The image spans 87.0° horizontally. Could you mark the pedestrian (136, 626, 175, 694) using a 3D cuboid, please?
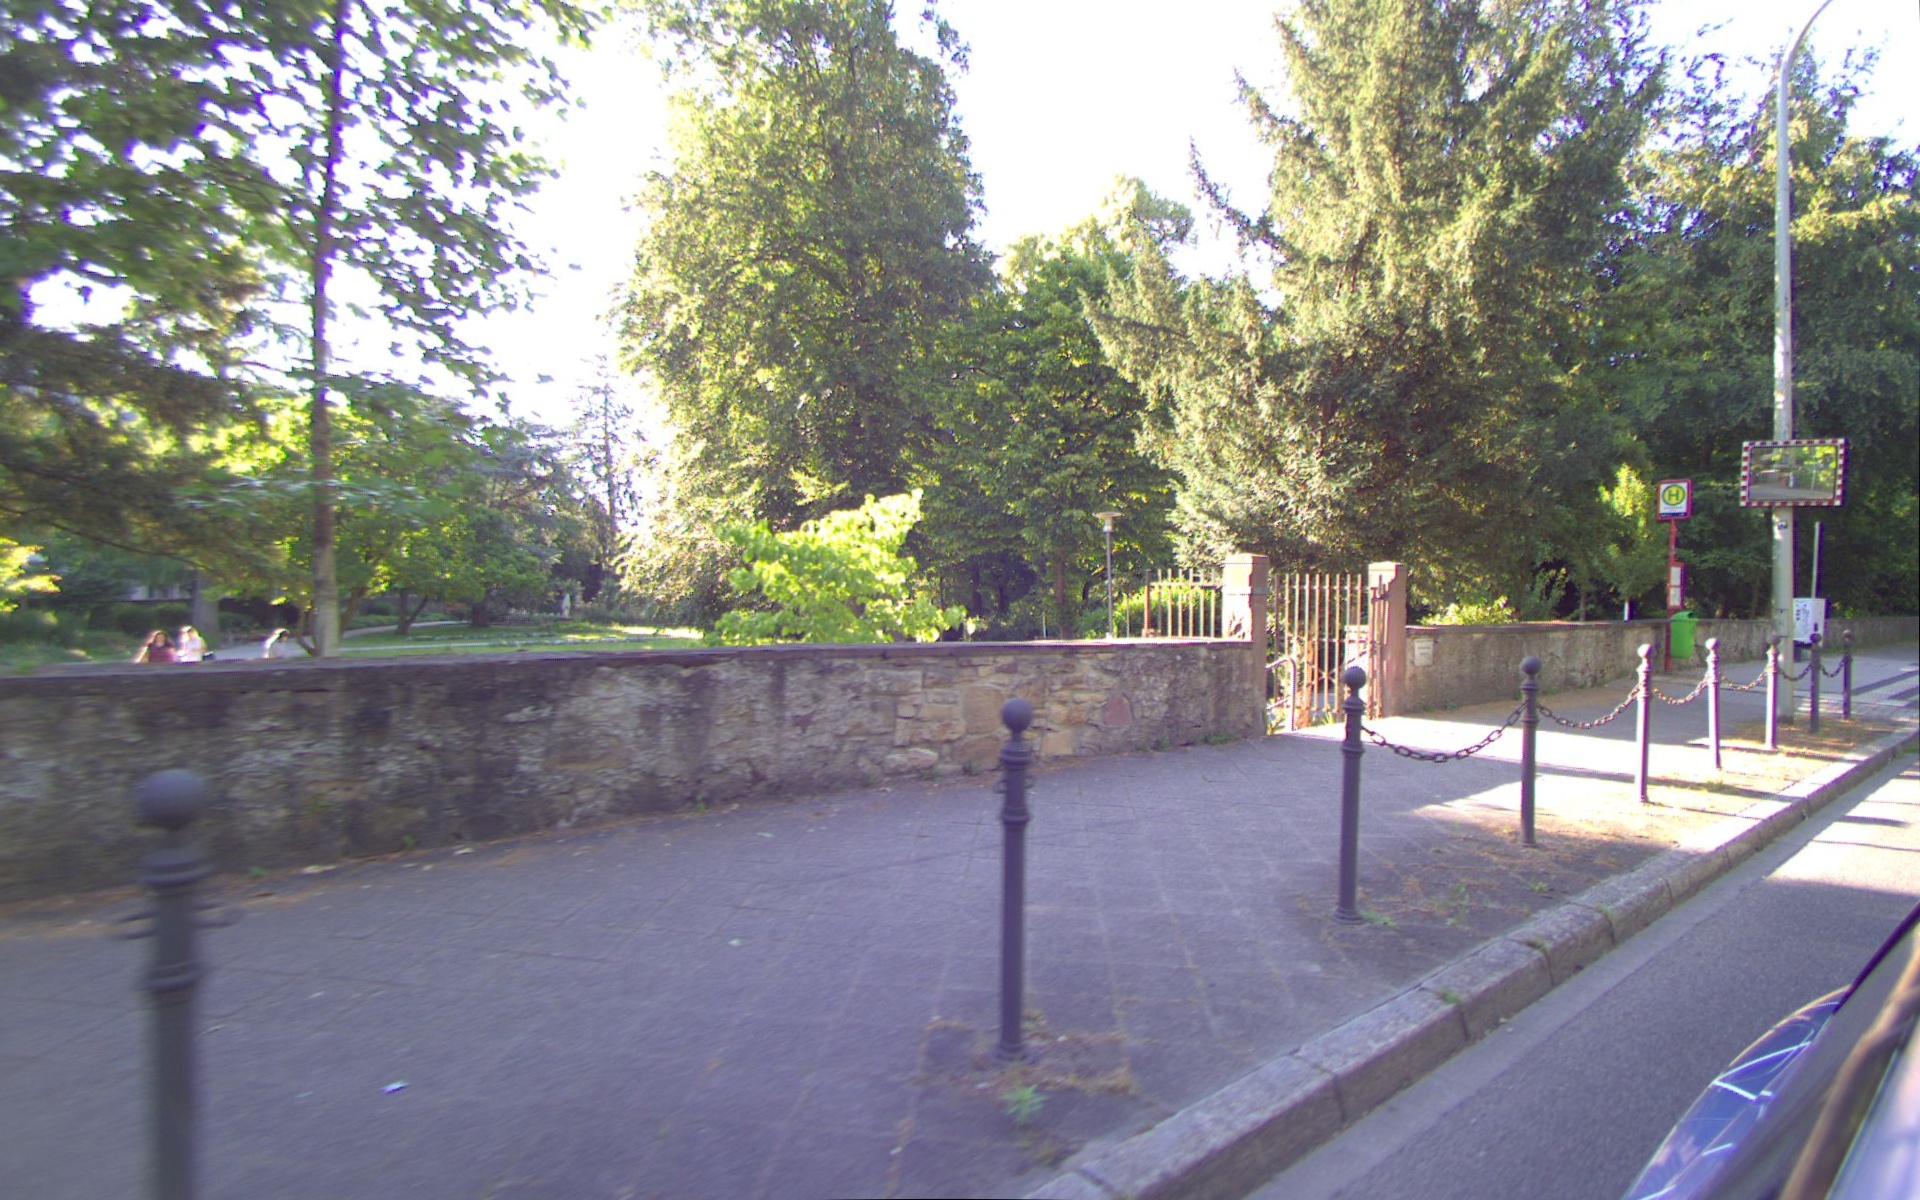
[{"bbox_3d":[-19.911,1.462,25.053,0.747,1.639,0.565,0,-1,-41],"label":"pedestrian"}]

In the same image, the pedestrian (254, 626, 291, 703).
[{"bbox_3d":[-15.278,1.412,22.479,0.625,1.662,0.616,0,-2,-39],"label":"pedestrian"}]

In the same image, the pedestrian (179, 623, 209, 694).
[{"bbox_3d":[-19.314,1.465,25.512,0.587,1.752,0.590,0,-2,-40],"label":"pedestrian"}]
